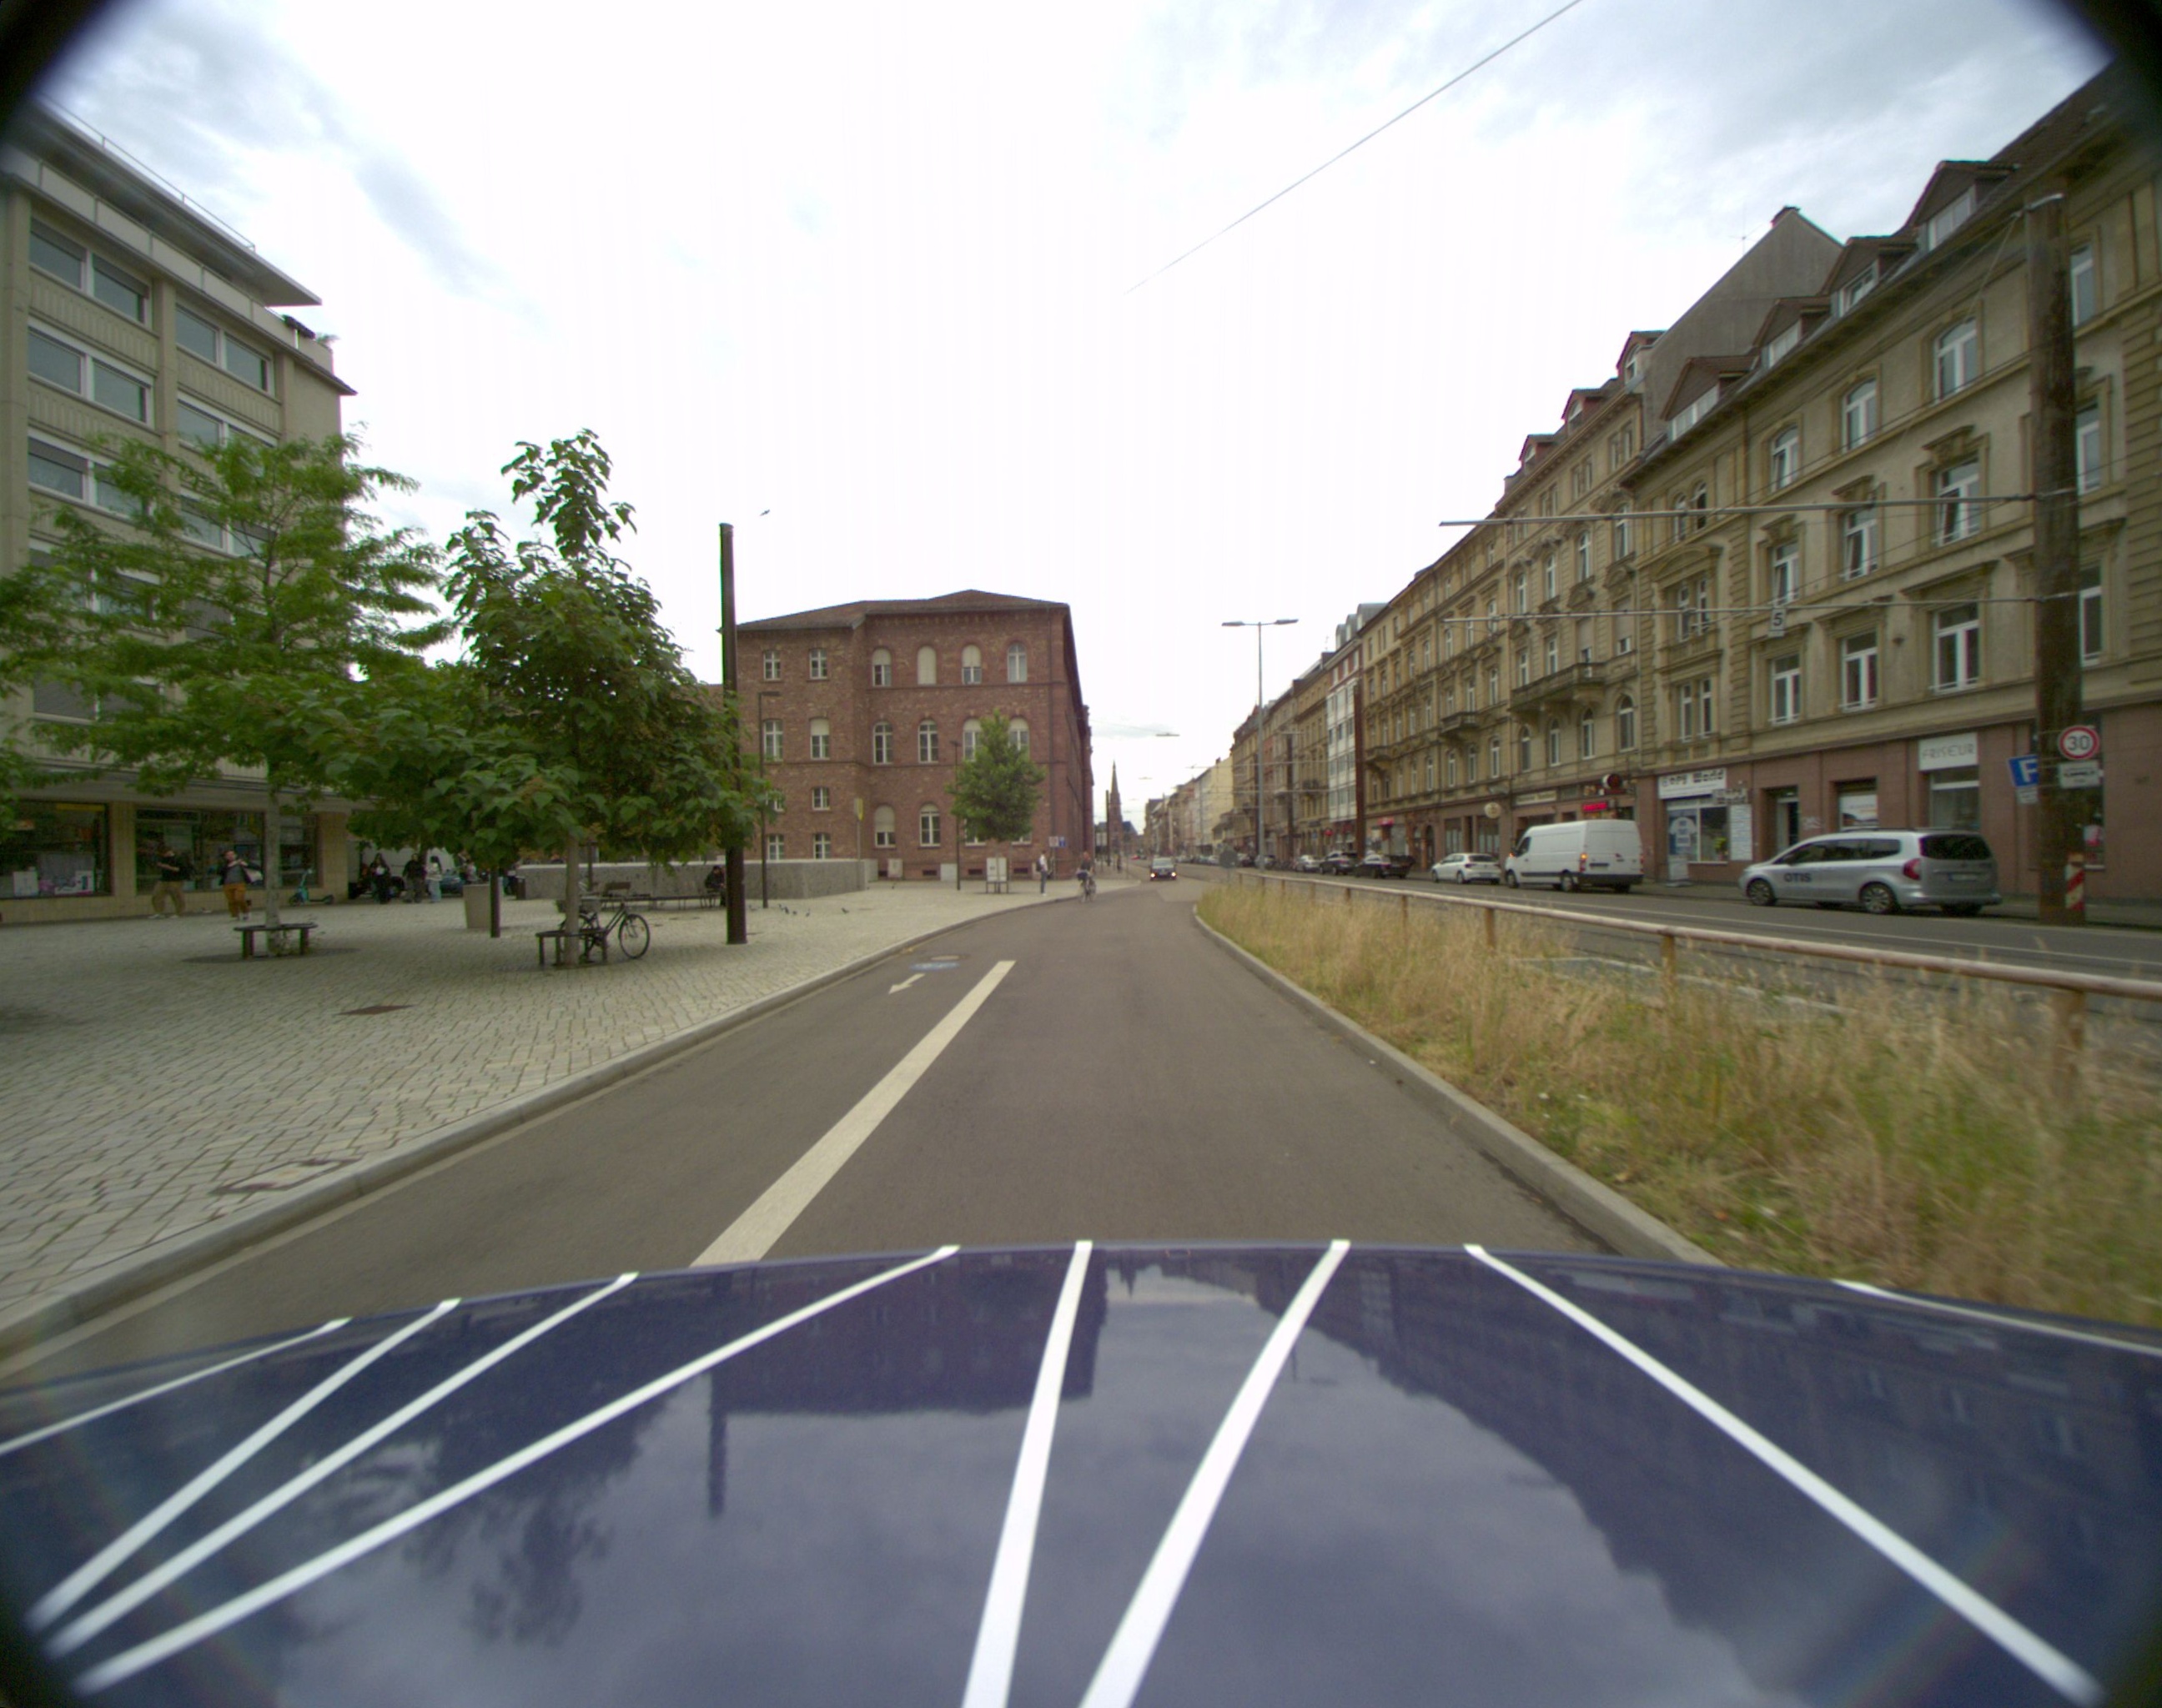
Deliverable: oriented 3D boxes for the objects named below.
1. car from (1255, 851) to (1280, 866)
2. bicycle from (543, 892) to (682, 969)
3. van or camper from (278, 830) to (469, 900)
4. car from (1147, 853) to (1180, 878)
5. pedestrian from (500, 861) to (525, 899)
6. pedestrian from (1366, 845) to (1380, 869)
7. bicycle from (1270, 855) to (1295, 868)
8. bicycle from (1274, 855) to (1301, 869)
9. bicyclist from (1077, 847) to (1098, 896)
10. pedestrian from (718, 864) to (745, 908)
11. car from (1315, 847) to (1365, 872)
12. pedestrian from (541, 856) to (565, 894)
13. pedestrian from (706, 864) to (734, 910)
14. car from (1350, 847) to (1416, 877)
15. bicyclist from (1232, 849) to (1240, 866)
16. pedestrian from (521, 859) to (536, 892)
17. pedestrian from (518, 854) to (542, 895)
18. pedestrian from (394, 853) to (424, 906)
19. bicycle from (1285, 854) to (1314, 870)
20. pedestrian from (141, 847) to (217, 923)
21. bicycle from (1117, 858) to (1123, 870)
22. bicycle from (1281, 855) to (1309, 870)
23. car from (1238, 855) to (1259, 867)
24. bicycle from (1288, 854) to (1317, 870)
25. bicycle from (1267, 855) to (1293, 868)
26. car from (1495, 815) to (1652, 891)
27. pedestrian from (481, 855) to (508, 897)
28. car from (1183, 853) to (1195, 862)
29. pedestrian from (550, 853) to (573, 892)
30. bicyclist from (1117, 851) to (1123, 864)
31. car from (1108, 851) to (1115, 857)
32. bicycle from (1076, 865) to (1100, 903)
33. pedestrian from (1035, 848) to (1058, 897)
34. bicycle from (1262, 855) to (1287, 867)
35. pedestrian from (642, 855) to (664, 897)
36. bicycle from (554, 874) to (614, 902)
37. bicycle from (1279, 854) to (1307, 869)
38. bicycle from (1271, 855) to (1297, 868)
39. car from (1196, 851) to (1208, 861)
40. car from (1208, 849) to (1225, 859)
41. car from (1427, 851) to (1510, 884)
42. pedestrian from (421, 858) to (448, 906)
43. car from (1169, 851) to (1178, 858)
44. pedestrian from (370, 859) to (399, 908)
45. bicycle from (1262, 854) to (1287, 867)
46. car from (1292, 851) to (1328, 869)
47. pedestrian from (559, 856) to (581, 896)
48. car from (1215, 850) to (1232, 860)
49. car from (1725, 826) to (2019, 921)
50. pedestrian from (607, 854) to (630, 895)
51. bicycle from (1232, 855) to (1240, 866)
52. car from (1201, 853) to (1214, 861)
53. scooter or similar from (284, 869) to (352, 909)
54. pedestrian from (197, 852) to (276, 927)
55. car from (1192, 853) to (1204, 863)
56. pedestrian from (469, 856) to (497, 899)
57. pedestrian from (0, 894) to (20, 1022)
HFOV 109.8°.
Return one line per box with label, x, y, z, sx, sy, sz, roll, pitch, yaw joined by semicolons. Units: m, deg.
car;19.581;0.487;79.987;1.748;1.524;4.226;0;0;1
bicycle;-7.425;1.202;12.053;1.917;1.116;0.646;-2;0;13
van or camper;-30.778;0.449;33.504;1.998;2.703;6.561;-2;0;2
car;5.406;0.750;50.061;1.747;1.538;3.650;-2;0;0
pedestrian;-25.737;1.189;34.418;0.664;1.668;0.534;-3;1;-7
pedestrian;21.746;0.222;56.584;0.653;1.772;0.787;-2;1;39
bicycle;19.436;0.730;73.334;2.287;1.196;0.666;0;0;2
bicycle;19.380;0.740;71.367;2.287;1.321;0.666;0;0;2
bicyclist;0.239;0.611;26.922;0.570;1.674;0.794;-2;1;10
pedestrian;-11.762;1.054;25.539;0.781;1.447;0.766;1;1;-28
car;18.319;0.408;54.003;1.818;1.680;5.031;0;0;-1
pedestrian;-25.016;0.976;36.016;0.664;1.747;0.631;-3;1;-7
pedestrian;-11.716;1.071;24.673;0.781;1.447;0.766;1;1;-28
car;17.784;0.439;45.053;1.924;1.679;5.052;1;0;0
bicyclist;17.584;0.358;86.081;0.646;1.872;1.028;-2;1;3
pedestrian;-27.761;1.080;38.149;0.535;1.612;0.662;-3;1;-37
pedestrian;-25.782;0.944;35.546;0.663;1.879;0.534;-3;1;-2
pedestrian;-22.802;0.861;25.788;0.590;1.758;0.645;-1;-1;38
bicycle;18.931;0.678;65.816;2.287;1.321;0.521;0;0;2
pedestrian;-23.103;0.783;19.485;0.773;1.890;1.065;0;0;-16
bicycle;3.676;0.939;71.694;0.472;1.151;2.273;-1;0;2
bicycle;19.077;0.750;67.723;2.287;1.321;0.666;0;0;2
car;19.874;0.818;90.335;1.748;1.479;3.921;0;0;3
bicycle;18.954;0.654;65.092;2.287;1.321;0.666;0;0;2
bicycle;19.416;0.711;74.110;2.287;1.196;0.705;0;0;2
car;17.700;-0.026;27.745;2.058;2.472;5.666;1;0;1
pedestrian;-23.630;0.894;30.623;0.642;1.660;0.593;-1;-1;22
car;21.949;0.733;154.958;1.928;1.722;3.827;-2;0;1
pedestrian;-22.037;0.782;32.237;0.513;1.660;0.593;-1;-1;23
bicyclist;3.690;0.305;71.668;0.587;1.164;0.662;-1;1;1
car;9.065;0.052;226.515;1.835;1.652;4.000;-2;0;2
bicycle;0.266;1.045;27.000;0.524;1.253;1.942;-1;0;10
pedestrian;-1.369;0.721;30.115;0.871;1.890;0.773;0;0;1
bicycle;19.231;0.696;75.416;2.287;1.196;0.705;0;0;2
pedestrian;-17.252;0.882;30.642;0.513;1.660;0.593;-1;-1;22
bicycle;-19.189;1.300;29.349;2.029;1.058;0.470;0;1;1
bicycle;19.116;0.709;68.550;2.287;1.321;0.666;0;0;2
bicycle;19.415;0.738;72.620;2.287;1.196;0.666;0;0;2
car;21.258;0.336;133.513;1.706;1.747;3.920;0;0;3
car;20.390;0.049;114.270;1.828;1.512;4.546;0;-1;2
car;18.012;0.595;35.550;1.775;1.414;4.165;1;0;0
pedestrian;-21.984;0.943;25.848;0.592;1.576;0.642;0;-1;-31
car;22.537;0.078;185.575;1.867;1.553;4.000;0;0;2
pedestrian;-22.763;0.957;24.840;0.592;1.576;0.642;0;-1;-31
bicycle;19.390;0.674;76.096;2.287;1.196;0.547;-2;0;2
car;18.675;0.491;62.111;1.748;1.479;3.920;0;0;1
pedestrian;-21.421;0.920;31.846;0.513;1.660;0.593;-1;-1;22
car;20.467;0.125;109.494;1.748;1.456;4.046;0;0;1
car;17.400;0.385;17.135;1.907;1.854;4.520;0;0;0
pedestrian;-18.871;0.839;30.999;0.513;1.660;0.593;-1;-1;25
bicycle;17.613;0.740;86.154;0.586;1.167;2.045;0;0;3
car;21.427;0.550;128.930;1.651;1.372;3.436;0;-1;-1
scooter or similar;-24.370;1.100;24.293;0.500;1.197;1.439;1;1;26
pedestrian;-20.521;0.838;18.482;0.773;1.762;1.066;0;0;-9
car;22.061;0.770;143.755;1.704;1.662;4.182;-2;0;3
pedestrian;-23.366;0.904;29.699;0.642;1.660;0.592;-1;-1;17
pedestrian;-11.951;1.134;7.595;0.629;1.358;1.409;-2;0;1
